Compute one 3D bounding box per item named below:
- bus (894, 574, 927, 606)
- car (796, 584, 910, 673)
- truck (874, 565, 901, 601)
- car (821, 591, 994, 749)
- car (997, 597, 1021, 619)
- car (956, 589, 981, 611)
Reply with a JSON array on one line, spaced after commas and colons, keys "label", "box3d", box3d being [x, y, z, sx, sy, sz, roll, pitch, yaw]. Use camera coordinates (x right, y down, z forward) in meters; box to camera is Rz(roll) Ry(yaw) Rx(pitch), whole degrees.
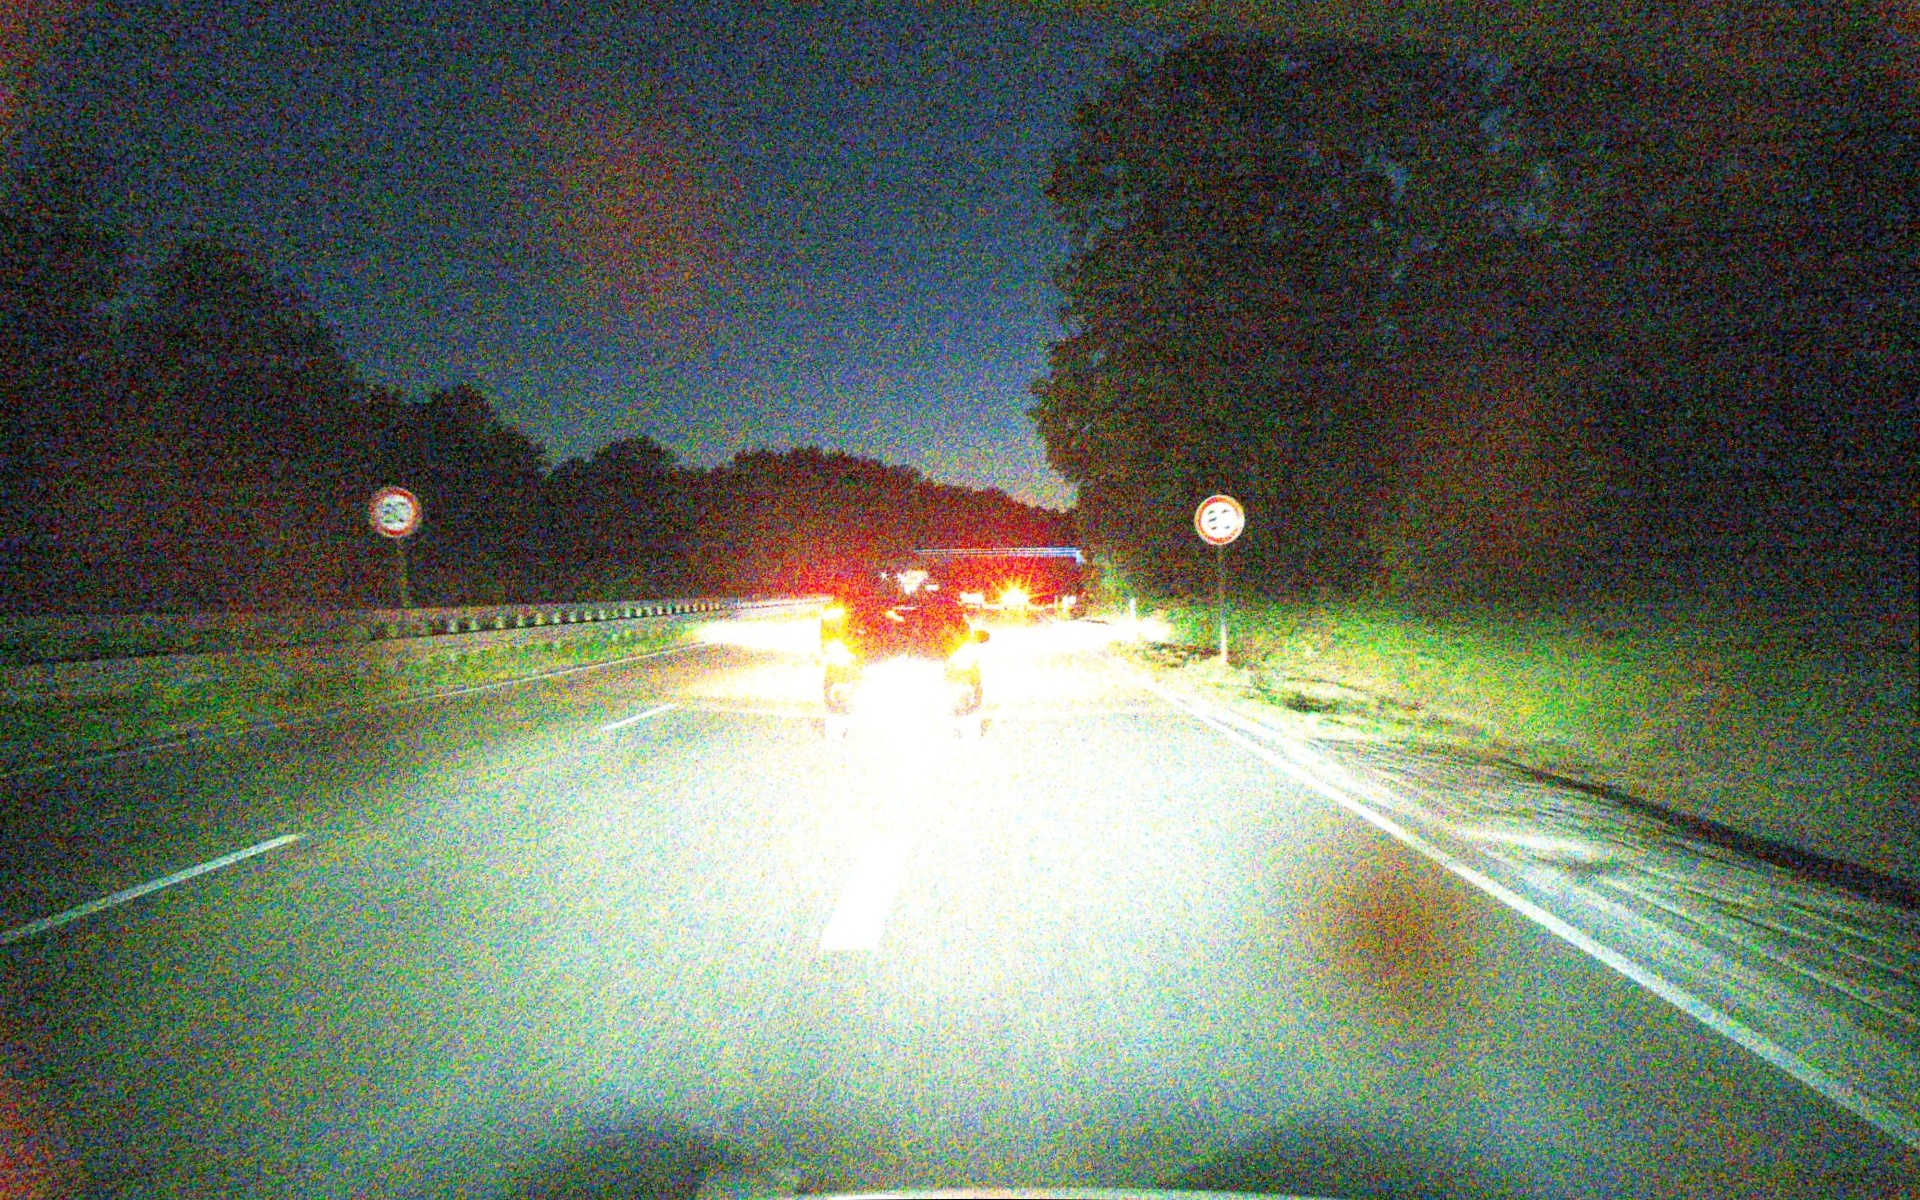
[{"label": "bus", "box3d": [-5.501, -1.133, 185.687, 2.862, 3.446, 12.312, 0, 1, 2]}, {"label": "car", "box3d": [-2.075, 0.517, 33.410, 1.900, 1.636, 4.644, 1, 0, 1]}, {"label": "truck", "box3d": [-8.582, -2.008, 195.365, 2.620, 4.250, 5.870, 0, 0, 3]}, {"label": "car", "box3d": [-0.608, 0.674, 17.988, 1.657, 1.503, 3.998, 1, 0, -3]}, {"label": "car", "box3d": [3.748, 0.629, 126.915, 1.698, 1.646, 3.798, 1, 0, 0]}, {"label": "car", "box3d": [0.718, 0.028, 133.895, 1.911, 1.565, 4.241, -4, -1, 1]}]
